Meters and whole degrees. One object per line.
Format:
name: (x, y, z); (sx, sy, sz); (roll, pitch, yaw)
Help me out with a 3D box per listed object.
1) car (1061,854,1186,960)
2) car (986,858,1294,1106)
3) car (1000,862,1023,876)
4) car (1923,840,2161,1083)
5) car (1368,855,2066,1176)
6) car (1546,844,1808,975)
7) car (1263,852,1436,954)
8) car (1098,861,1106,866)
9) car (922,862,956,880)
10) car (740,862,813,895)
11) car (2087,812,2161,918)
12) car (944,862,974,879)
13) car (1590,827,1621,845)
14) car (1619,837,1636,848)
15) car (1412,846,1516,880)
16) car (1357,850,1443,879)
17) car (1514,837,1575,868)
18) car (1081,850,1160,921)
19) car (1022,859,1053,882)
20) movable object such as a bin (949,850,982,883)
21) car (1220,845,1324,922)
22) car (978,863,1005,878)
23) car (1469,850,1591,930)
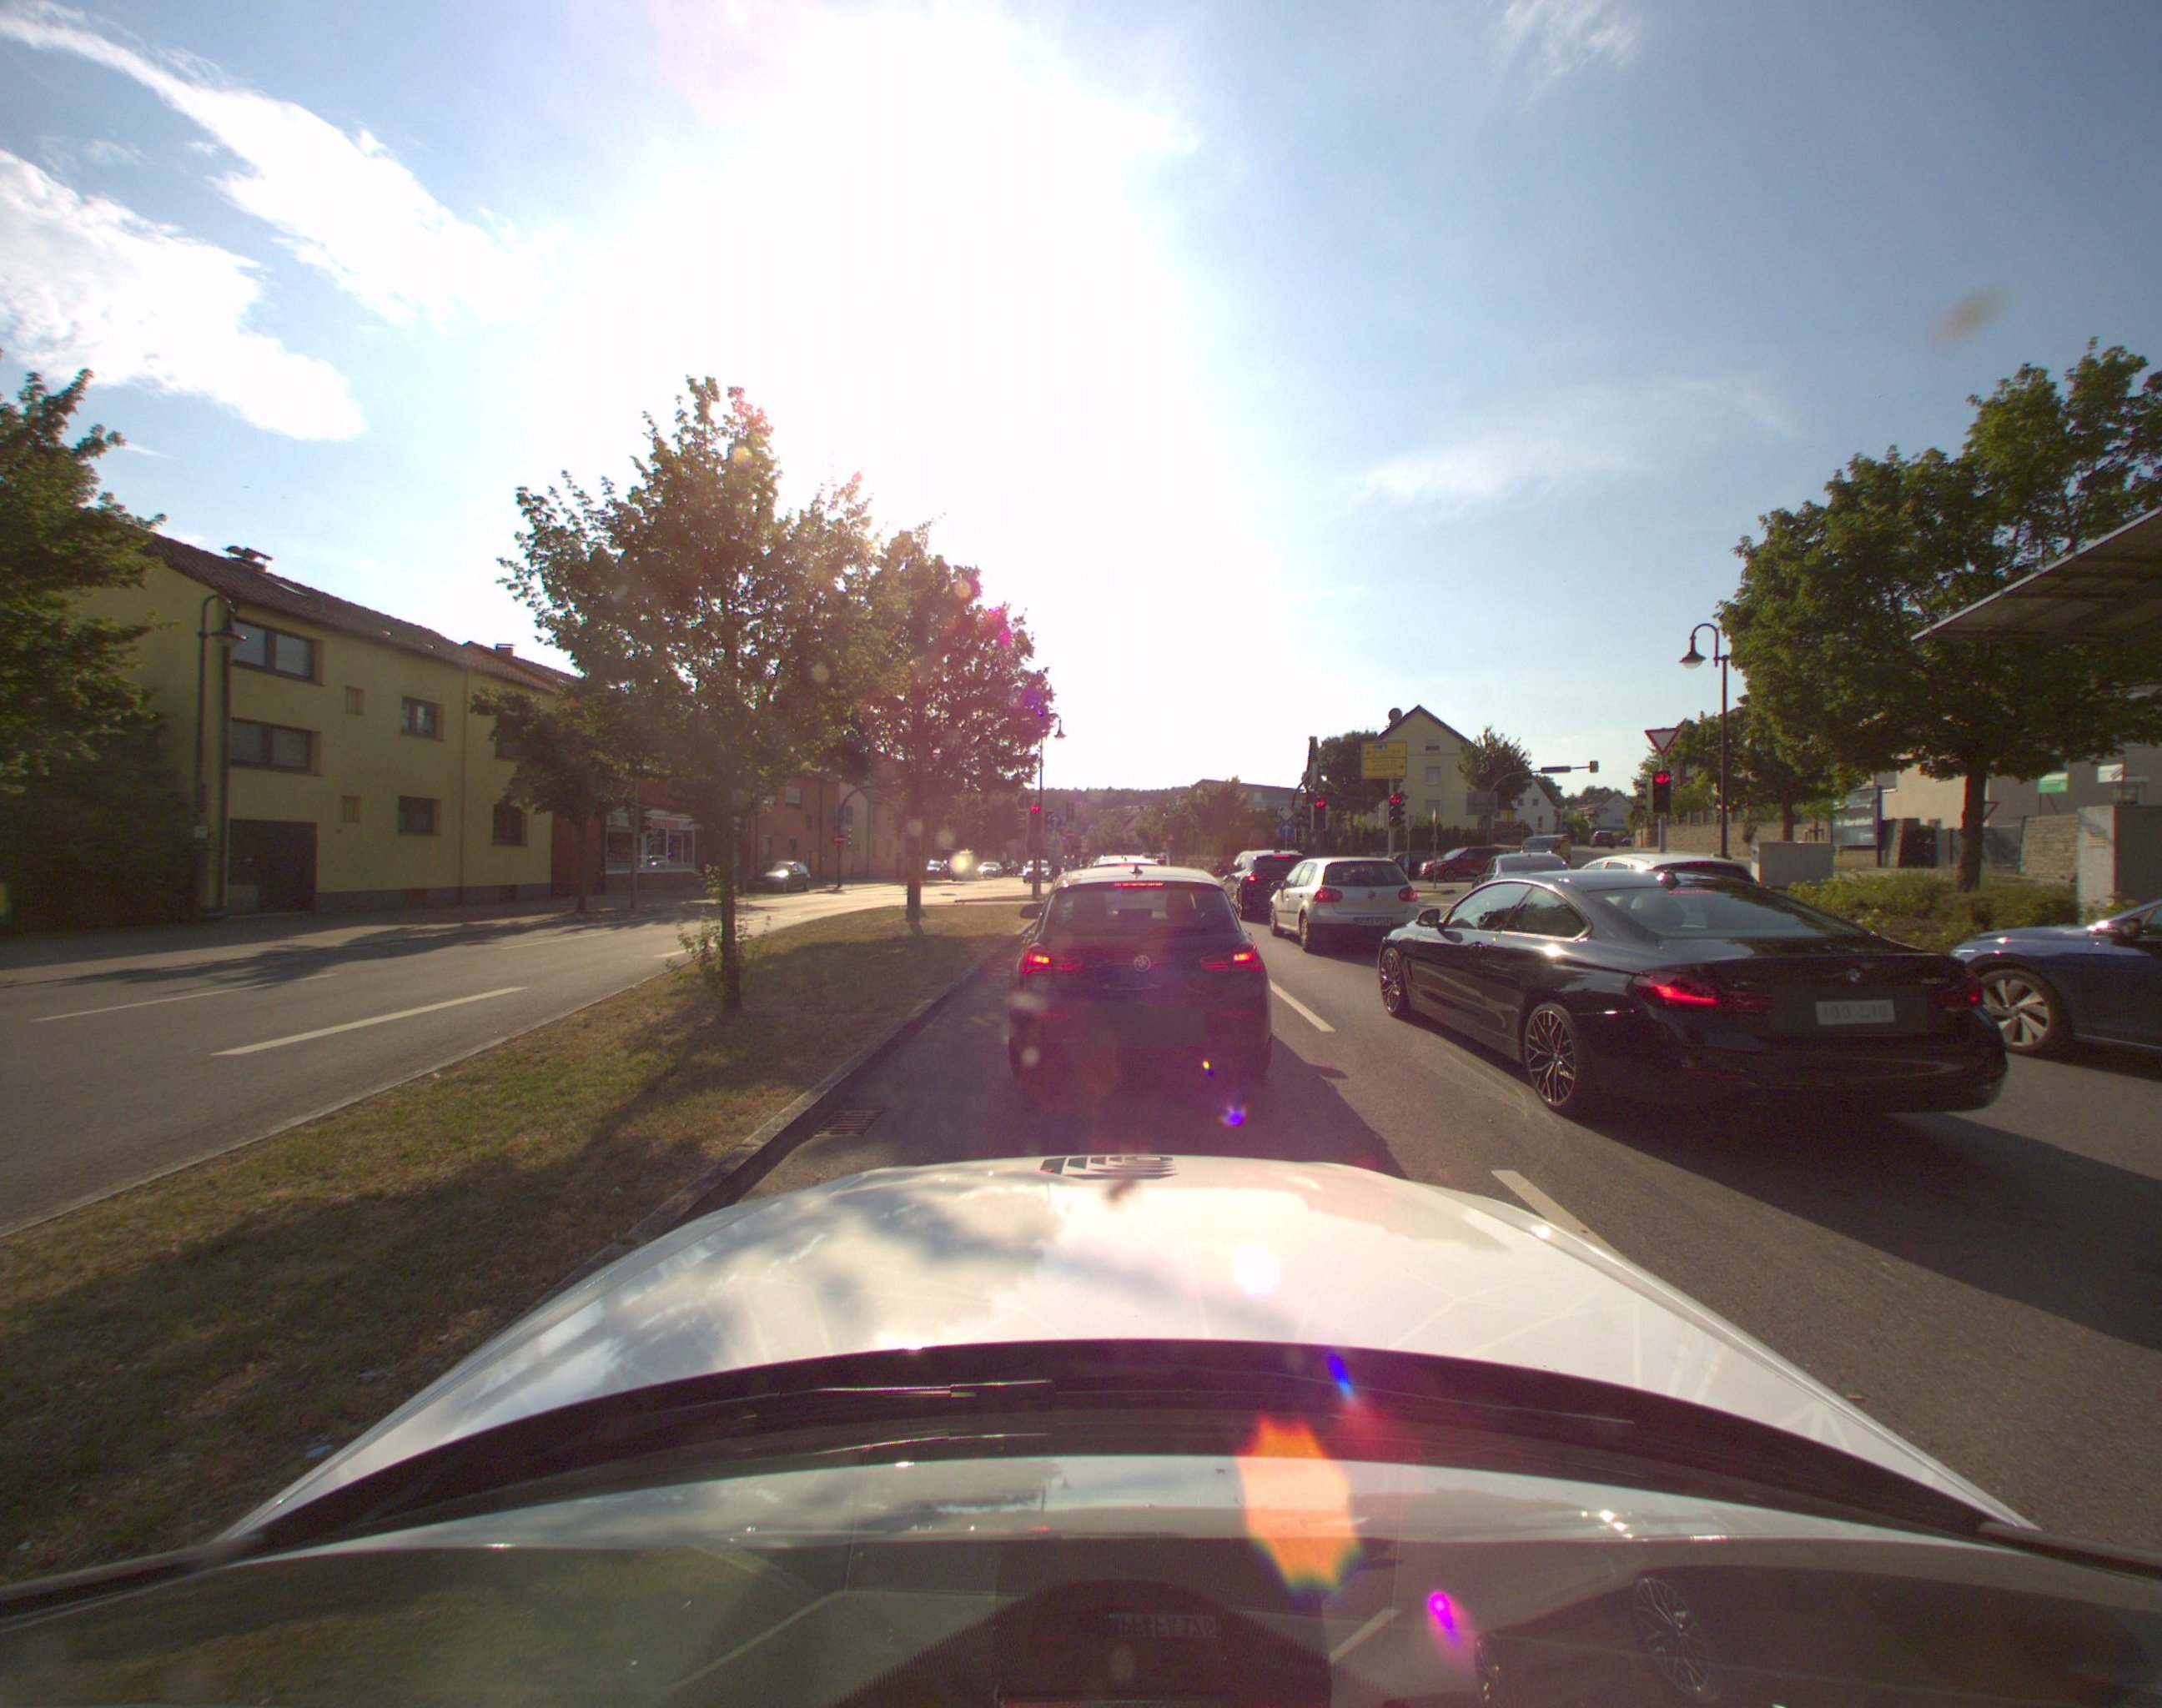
car: (0.720, 0.779, 14.115); (1.781, 1.494, 4.283); (-2, 0, 2)
car: (0.443, 0.771, 6.971); (1.781, 1.397, 4.283); (-2, 0, 2)
car: (-7.382, 1.628, 87.216); (1.729, 1.301, 3.804); (4, 0, 5)
car: (7.435, 0.650, 4.251); (1.754, 1.453, 4.323); (-2, 0, 4)
car: (3.621, 0.738, 5.826); (1.755, 1.397, 4.283); (-2, 0, 2)
car: (8.112, 0.670, 11.468); (1.608, 1.542, 3.326); (-2, 0, 9)
car: (4.322, 0.715, 13.766); (1.755, 1.426, 3.905); (-2, 0, 2)
car: (5.459, 2.434, 213.632); (1.729, 1.301, 3.804); (4, 0, 5)
car: (-11.745, 1.423, 67.597); (1.728, 1.301, 4.006); (4, 0, 6)
car: (-14.138, 1.112, 38.035); (1.730, 1.301, 4.002); (4, 0, 2)
car: (18.495, 0.158, 12.389); (3.793, 1.632, 1.784); (0, 0, 10)
car: (-11.048, 1.468, 73.860); (1.729, 1.301, 4.005); (4, 0, 5)
car: (50.013, -1.686, 77.673); (1.946, 1.680, 4.240); (-2, 0, 26)
car: (89.366, -1.881, 133.274); (1.946, 1.680, 4.241); (-2, 0, 30)
car: (19.082, 0.451, 40.696); (4.410, 1.641, 1.845); (0, 0, -6)
car: (17.346, 0.570, 44.363); (3.974, 1.489, 1.848); (0, 0, -1)
car: (27.432, -0.093, 48.136); (4.811, 1.739, 1.825); (0, 0, -44)
car: (1.021, 0.739, 21.154); (1.781, 1.594, 4.283); (-2, 0, 2)
car: (-2.952, 1.123, 55.661); (1.833, 1.482, 4.000); (-1, 0, 1)
movable object such as a bin: (-9.093, 0.966, 64.319); (1.729, 2.442, 4.452); (-1, 0, 3)
car: (4.570, 0.649, 20.048); (1.755, 1.656, 3.905); (-2, 0, 2)
car: (-8.408, 1.532, 76.437); (1.729, 1.301, 3.804); (4, 0, 5)
car: (9.883, 0.713, 18.241); (1.642, 1.542, 4.420); (-2, 0, 19)
